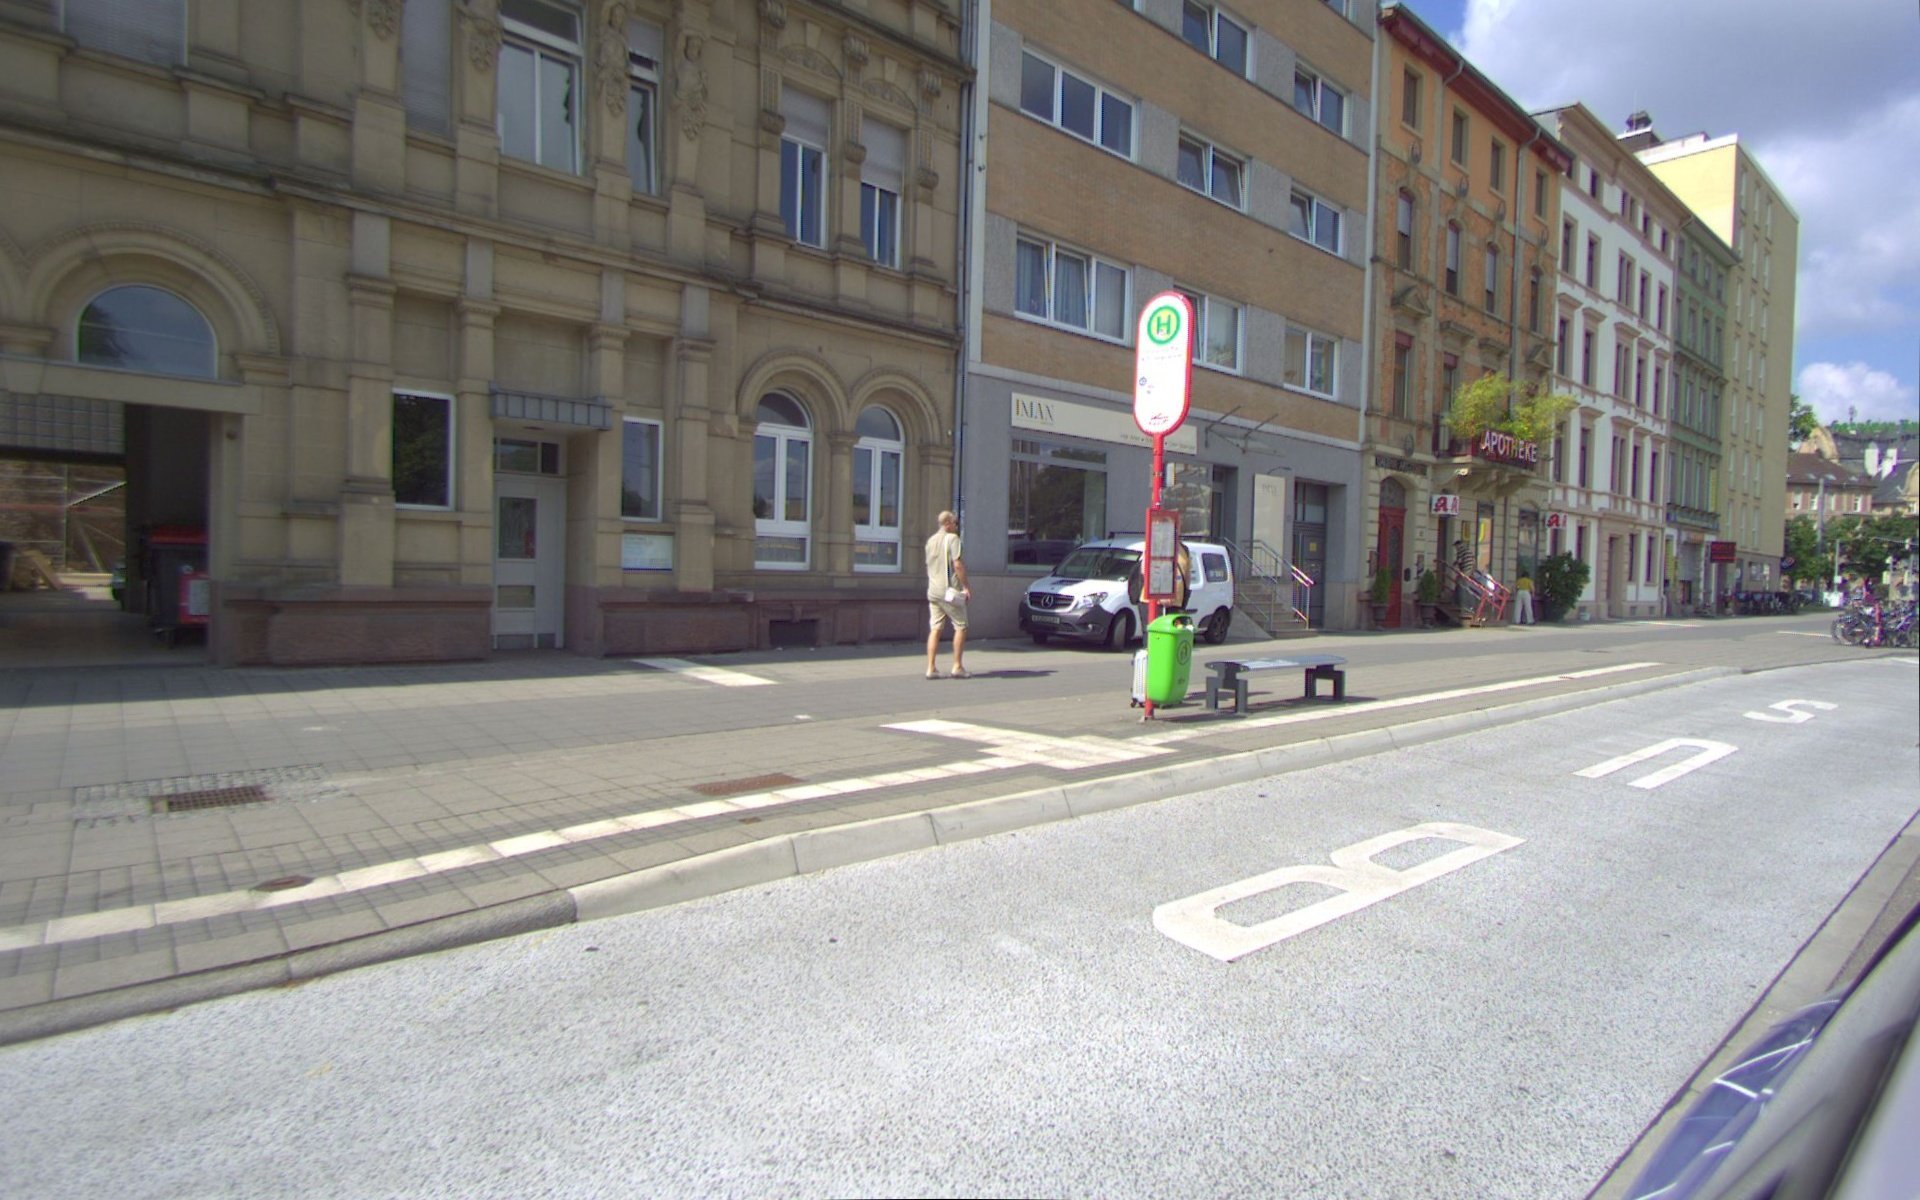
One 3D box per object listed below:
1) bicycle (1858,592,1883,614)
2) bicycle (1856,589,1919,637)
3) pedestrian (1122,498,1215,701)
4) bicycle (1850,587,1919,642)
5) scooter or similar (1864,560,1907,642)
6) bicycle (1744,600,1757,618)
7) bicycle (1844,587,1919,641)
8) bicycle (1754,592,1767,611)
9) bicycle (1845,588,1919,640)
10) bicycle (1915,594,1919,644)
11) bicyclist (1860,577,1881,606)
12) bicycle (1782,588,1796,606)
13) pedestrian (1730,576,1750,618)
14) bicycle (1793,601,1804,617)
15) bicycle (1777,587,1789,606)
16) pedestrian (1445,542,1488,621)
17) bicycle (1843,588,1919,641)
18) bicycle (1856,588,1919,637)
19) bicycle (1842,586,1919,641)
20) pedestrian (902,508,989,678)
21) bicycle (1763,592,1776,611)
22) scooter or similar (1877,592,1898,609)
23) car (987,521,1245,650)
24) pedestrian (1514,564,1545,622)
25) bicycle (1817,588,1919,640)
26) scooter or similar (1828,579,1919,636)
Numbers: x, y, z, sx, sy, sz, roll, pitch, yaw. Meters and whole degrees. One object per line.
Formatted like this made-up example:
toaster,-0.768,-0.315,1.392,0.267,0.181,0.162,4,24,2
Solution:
bicycle,47.283,0.148,52.566,2.291,1.134,0.663,0,2,-41
bicycle,25.478,0.361,27.270,0.433,1.253,1.929,3,0,-38
pedestrian,2.078,-0.024,10.051,0.660,1.926,0.687,3,2,31
bicycle,22.377,0.357,23.899,1.975,1.253,0.435,3,0,39
scooter or similar,21.128,0.016,23.106,1.509,1.808,0.398,0,2,-37
bicycle,40.793,0.468,52.188,1.439,0.934,0.293,1,1,-44
bicycle,23.035,0.344,24.878,1.925,1.253,0.434,3,0,45
bicycle,41.049,0.073,51.913,1.439,0.934,0.293,2,0,-44
bicycle,23.776,0.367,25.681,1.921,1.253,0.435,3,0,40
bicycle,25.169,0.531,25.228,1.920,1.253,0.435,3,0,38
bicyclist,47.375,-0.451,52.647,0.730,1.455,0.655,0,2,-41
bicycle,44.544,-0.162,54.353,1.438,0.934,0.293,0,2,-41
pedestrian,38.340,-0.164,49.750,0.452,2.039,0.603,3,0,-40
bicycle,48.211,0.528,58.164,1.440,0.894,0.293,-1,3,-44
bicycle,43.243,-0.161,53.155,1.439,0.934,0.293,2,0,-44
pedestrian,14.014,-0.504,28.010,0.772,2.126,0.722,3,0,-40
bicycle,23.404,0.363,25.303,1.921,1.253,0.435,3,0,40
bicycle,25.118,0.343,26.855,0.433,1.253,1.929,3,0,-38
bicycle,22.654,0.330,24.500,1.923,1.253,0.434,3,0,42
pedestrian,-0.165,-0.096,11.520,0.663,1.859,0.684,3,2,43
bicycle,41.164,0.104,51.467,1.439,0.934,0.293,1,1,-44
scooter or similar,69.231,0.010,75.518,1.049,1.211,0.380,3,0,13
car,2.769,-0.291,17.129,1.994,1.885,4.678,3,3,43
pedestrian,17.309,-0.203,30.754,0.601,1.719,0.580,3,0,-40
bicycle,23.959,0.353,26.741,1.920,1.253,0.435,3,0,37
scooter or similar,27.111,0.206,29.701,0.684,1.565,2.333,3,0,-35
